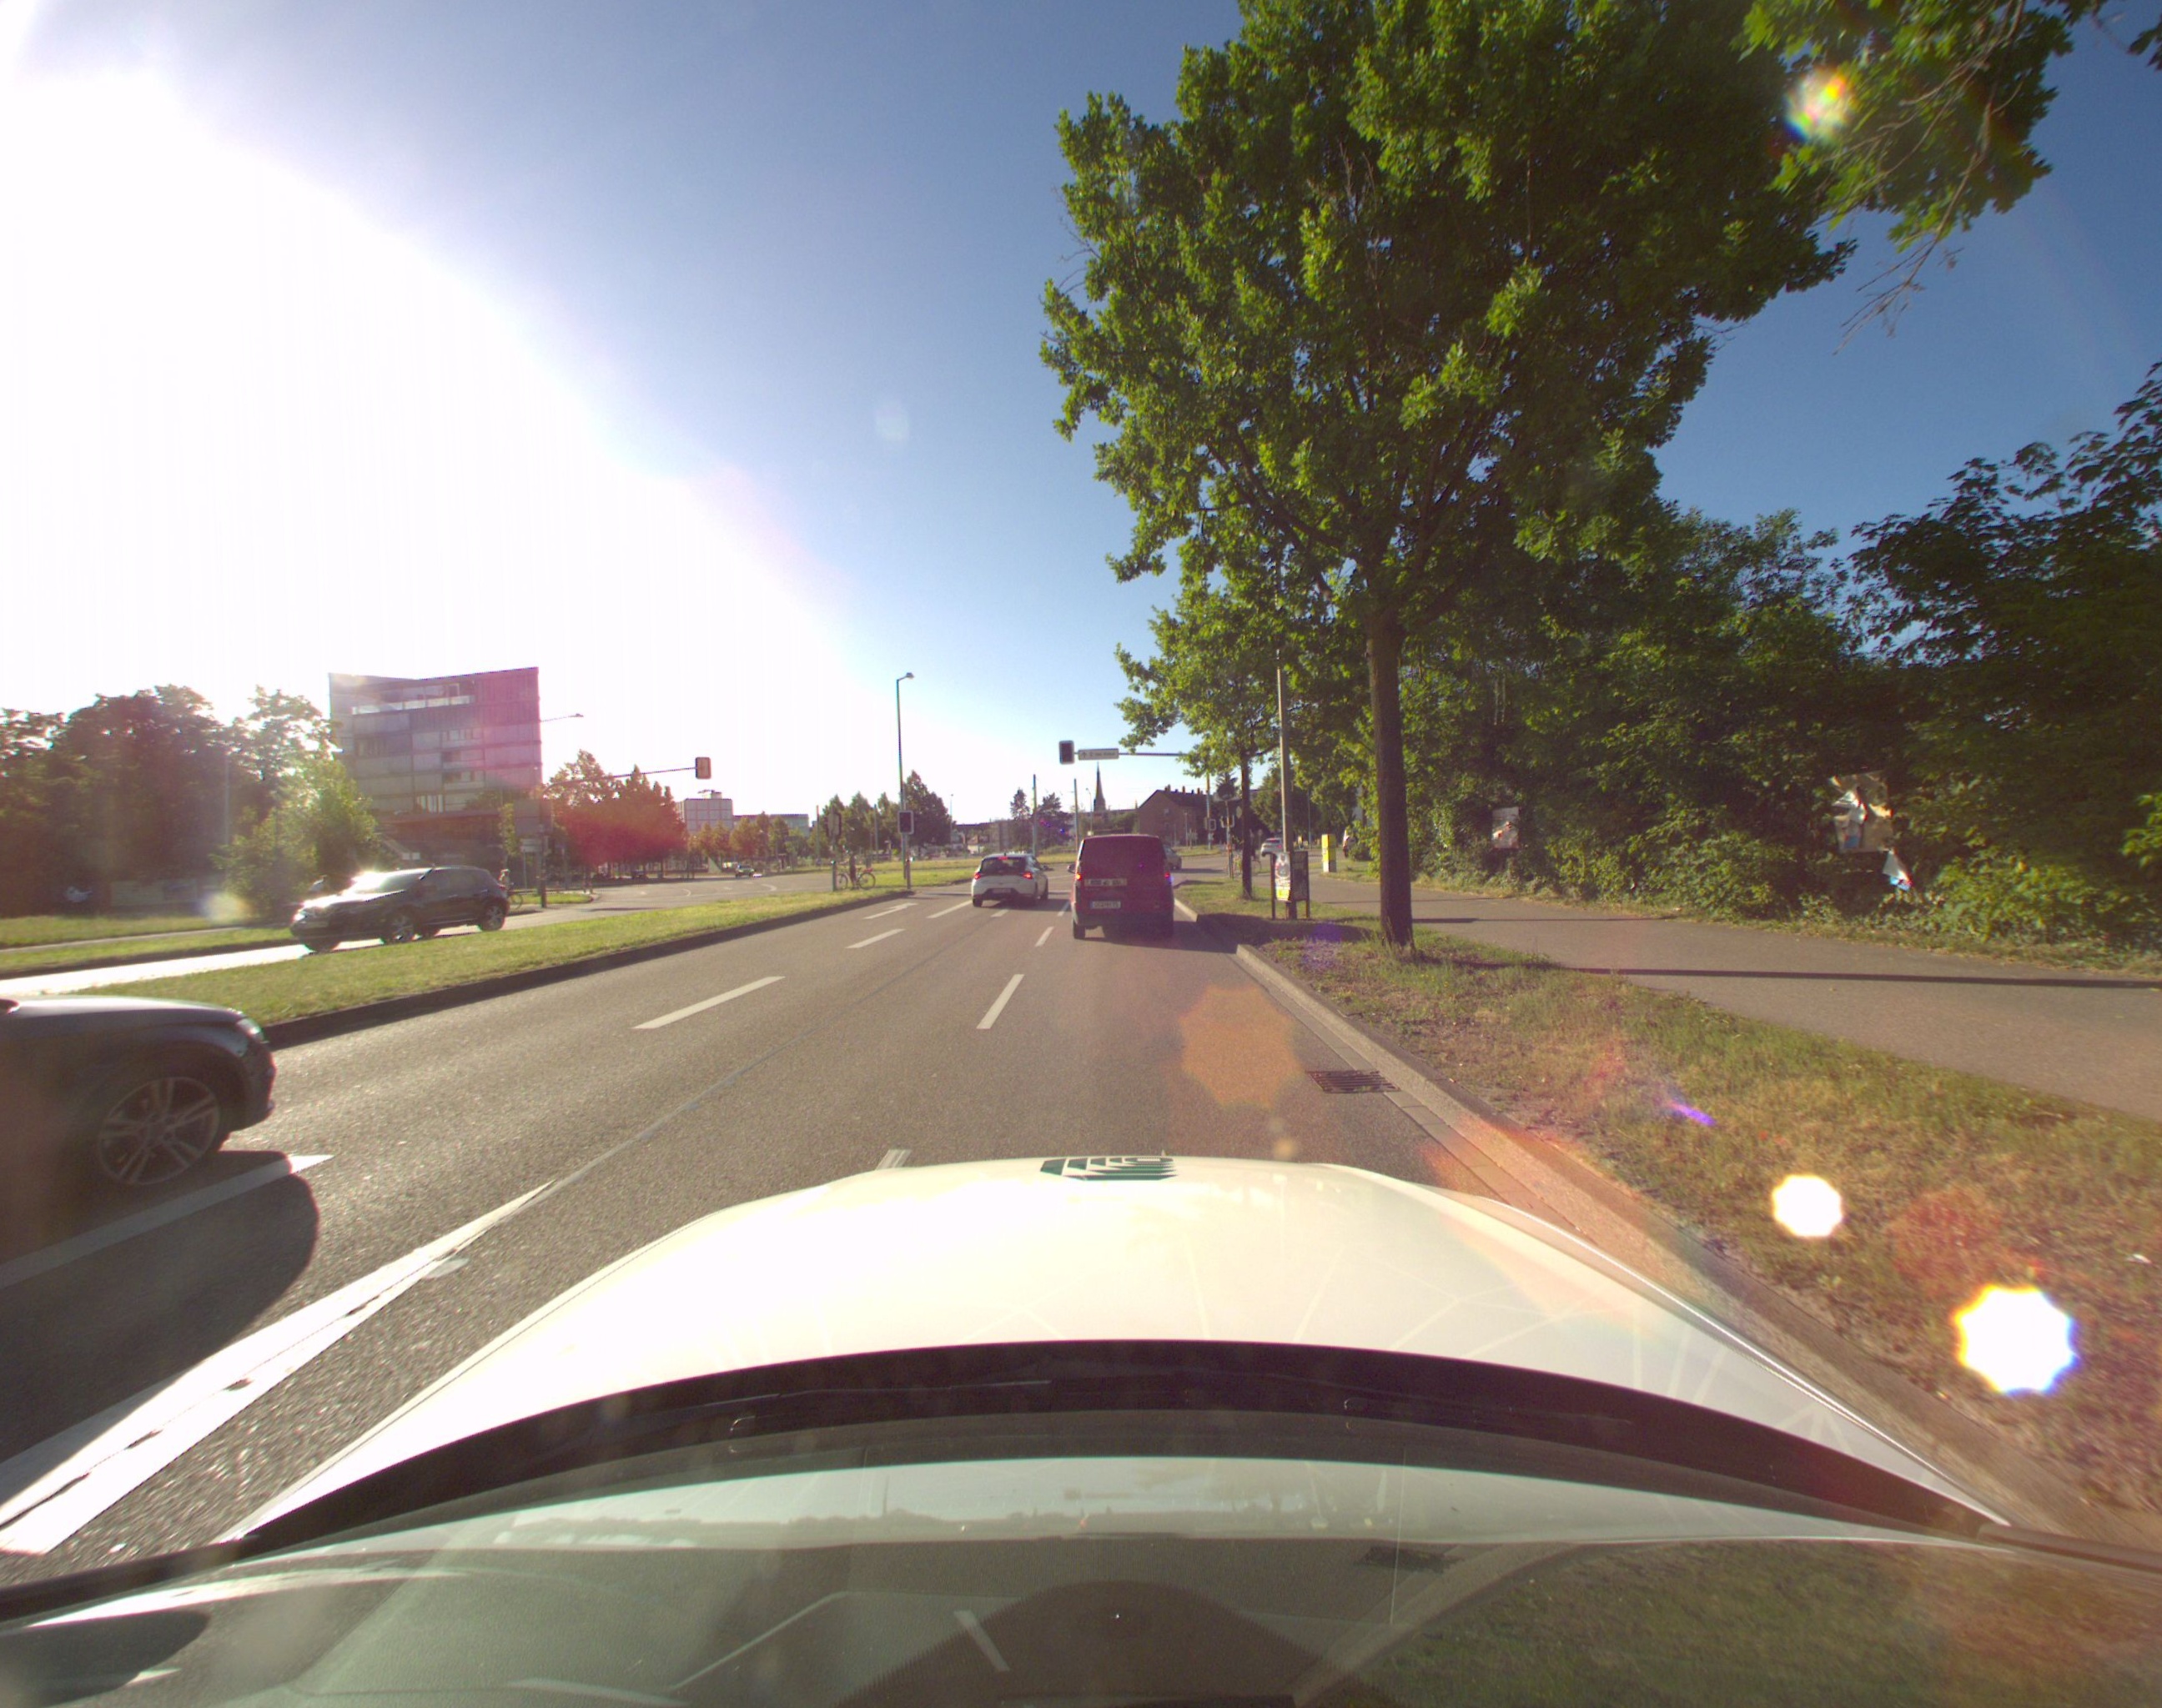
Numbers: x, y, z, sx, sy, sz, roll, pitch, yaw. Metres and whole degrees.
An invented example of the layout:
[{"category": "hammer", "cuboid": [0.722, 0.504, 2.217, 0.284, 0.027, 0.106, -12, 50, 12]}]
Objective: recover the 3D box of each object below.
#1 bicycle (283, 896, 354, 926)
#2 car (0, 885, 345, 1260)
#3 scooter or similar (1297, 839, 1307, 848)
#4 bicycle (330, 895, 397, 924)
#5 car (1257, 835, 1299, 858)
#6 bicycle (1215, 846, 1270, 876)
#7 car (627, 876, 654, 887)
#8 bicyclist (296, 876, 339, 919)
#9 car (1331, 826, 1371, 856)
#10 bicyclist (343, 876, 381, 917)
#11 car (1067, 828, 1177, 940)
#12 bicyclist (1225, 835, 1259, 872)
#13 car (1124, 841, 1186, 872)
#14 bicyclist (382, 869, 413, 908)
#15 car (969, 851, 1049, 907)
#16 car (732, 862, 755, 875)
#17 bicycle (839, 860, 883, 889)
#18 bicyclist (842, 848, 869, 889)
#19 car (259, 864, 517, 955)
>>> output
[{"category": "bicycle", "cuboid": [-26.451, 1.952, 28.302, 0.613, 0.852, 1.890, -2, 1, 2]}, {"category": "car", "cuboid": [-5.053, 0.896, 2.380, 1.754, 1.380, 4.359, -2, 0, 1]}, {"category": "scooter or similar", "cuboid": [30.164, -1.415, 111.317, 0.446, 1.248, 1.250, 0, -2, -37]}, {"category": "bicycle", "cuboid": [-25.250, 1.939, 28.693, 0.613, 0.852, 1.890, -2, 1, 2]}, {"category": "car", "cuboid": [15.583, -0.596, 64.258, 1.974, 1.639, 4.436, -2, 1, 30]}, {"category": "bicycle", "cuboid": [7.122, 0.305, 35.843, 2.218, 1.155, 0.870, -3, -1, -22]}, {"category": "car", "cuboid": [-76.259, 4.741, 140.880, 4.950, 1.785, 2.478, -2, 0, 41]}, {"category": "bicyclist", "cuboid": [-26.469, 1.505, 28.228, 0.613, 1.392, 0.838, -2, 0, 2]}, {"category": "car", "cuboid": [18.194, -0.826, 55.148, 1.984, 1.897, 4.768, -2, 0, 12]}, {"category": "bicyclist", "cuboid": [-25.278, 1.479, 28.625, 0.613, 1.392, 0.719, -2, 0, 2]}, {"category": "car", "cuboid": [0.780, 0.487, 15.316, 1.795, 1.813, 3.813, -1, 0, 3]}, {"category": "bicyclist", "cuboid": [7.083, -0.023, 35.834, 1.088, 1.562, 0.870, -3, -1, -21]}, {"category": "car", "cuboid": [4.234, 0.114, 45.875, 1.975, 1.575, 4.435, -2, 1, 27]}, {"category": "bicyclist", "cuboid": [-28.215, 1.408, 33.615, 0.429, 1.564, 0.853, -2, 0, 6]}, {"category": "car", "cuboid": [-1.987, 0.655, 23.520, 1.795, 1.461, 3.812, -1, 0, 3]}, {"category": "car", "cuboid": [-42.502, 1.842, 102.554, 2.017, 1.541, 4.281, -3, 0, -32]}, {"category": "bicycle", "cuboid": [-9.075, 0.851, 33.617, 1.649, 1.128, 0.702, -2, -1, -8]}, {"category": "bicyclist", "cuboid": [-9.280, 0.588, 33.582, 0.939, 1.663, 0.702, -2, -1, -8]}, {"category": "car", "cuboid": [-15.872, 1.158, 19.095, 1.988, 1.739, 4.735, -2, 0, -1]}]
